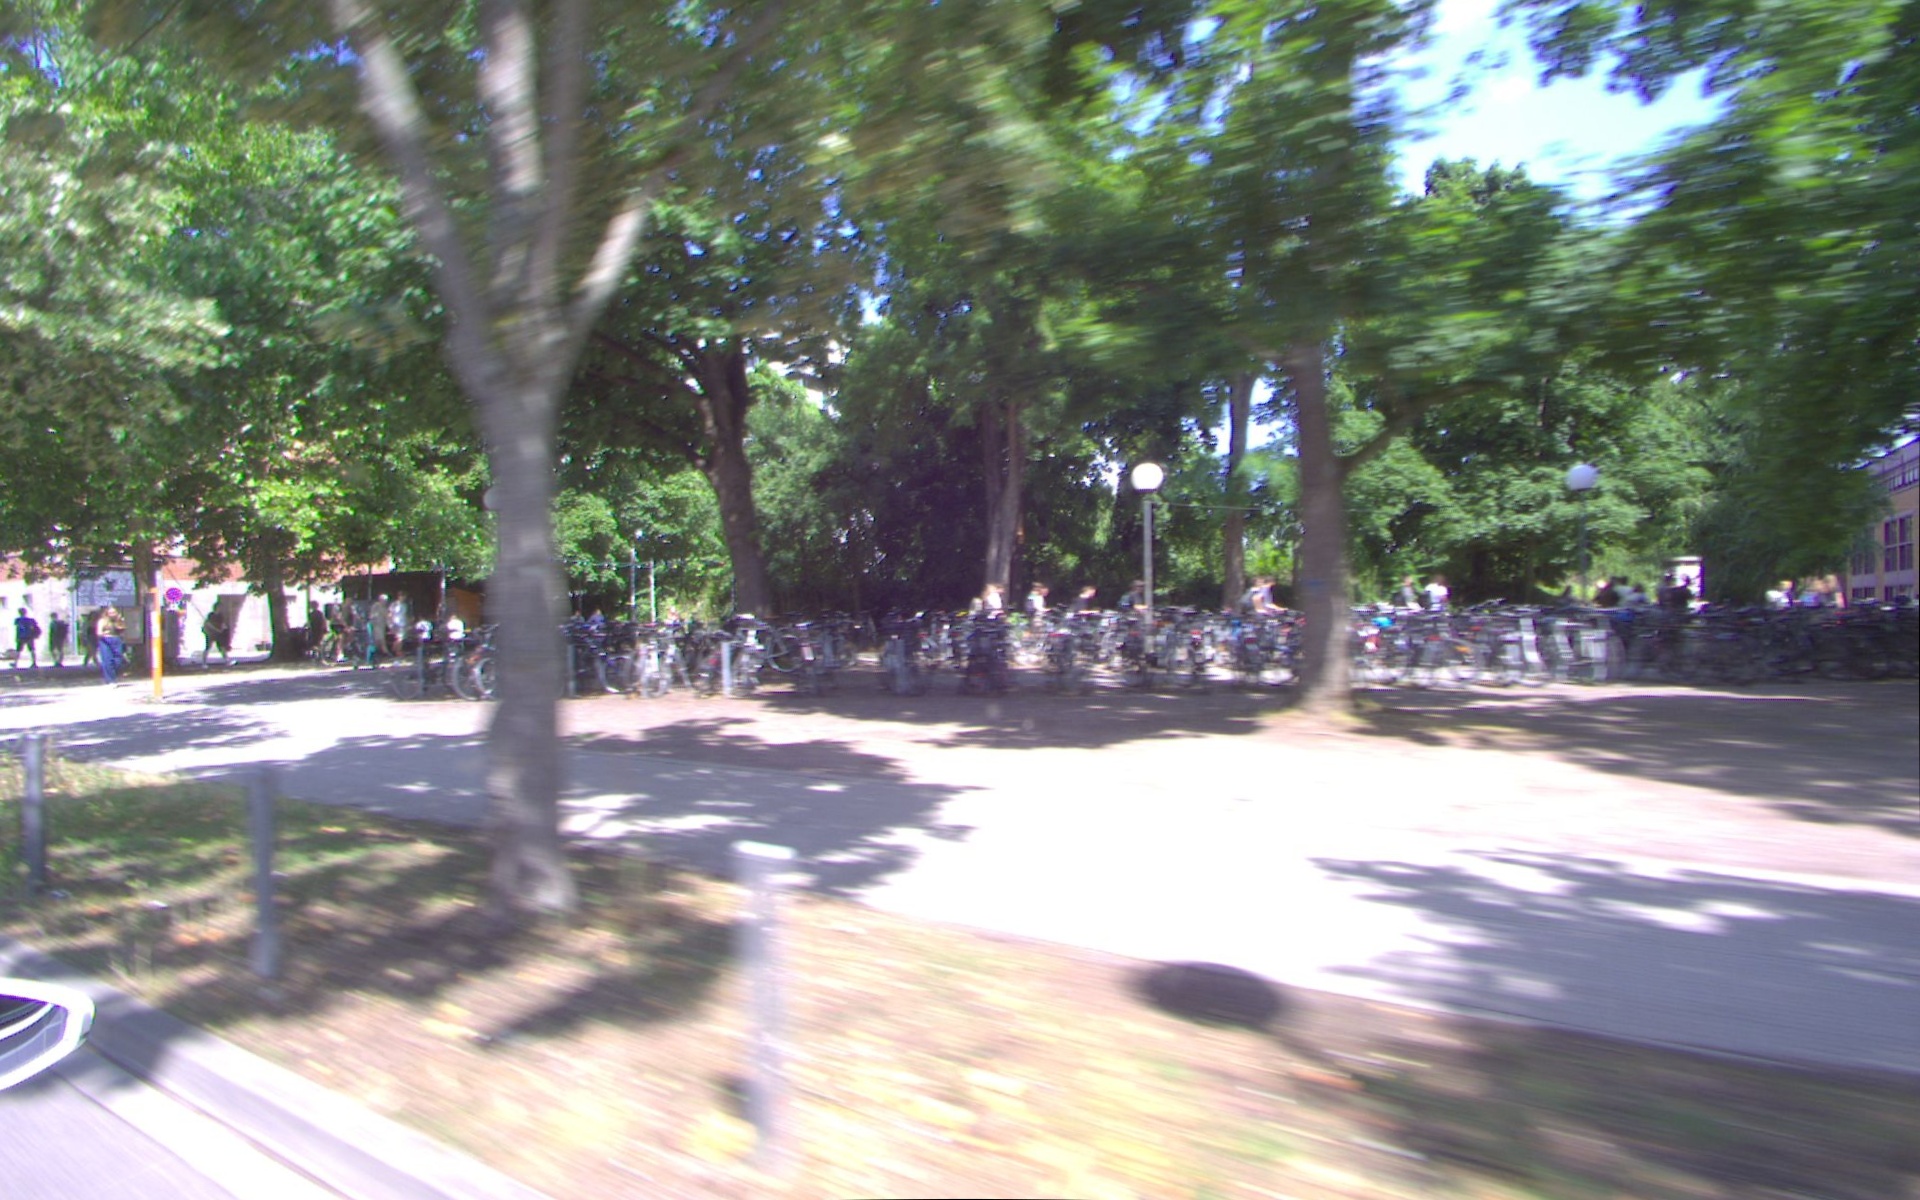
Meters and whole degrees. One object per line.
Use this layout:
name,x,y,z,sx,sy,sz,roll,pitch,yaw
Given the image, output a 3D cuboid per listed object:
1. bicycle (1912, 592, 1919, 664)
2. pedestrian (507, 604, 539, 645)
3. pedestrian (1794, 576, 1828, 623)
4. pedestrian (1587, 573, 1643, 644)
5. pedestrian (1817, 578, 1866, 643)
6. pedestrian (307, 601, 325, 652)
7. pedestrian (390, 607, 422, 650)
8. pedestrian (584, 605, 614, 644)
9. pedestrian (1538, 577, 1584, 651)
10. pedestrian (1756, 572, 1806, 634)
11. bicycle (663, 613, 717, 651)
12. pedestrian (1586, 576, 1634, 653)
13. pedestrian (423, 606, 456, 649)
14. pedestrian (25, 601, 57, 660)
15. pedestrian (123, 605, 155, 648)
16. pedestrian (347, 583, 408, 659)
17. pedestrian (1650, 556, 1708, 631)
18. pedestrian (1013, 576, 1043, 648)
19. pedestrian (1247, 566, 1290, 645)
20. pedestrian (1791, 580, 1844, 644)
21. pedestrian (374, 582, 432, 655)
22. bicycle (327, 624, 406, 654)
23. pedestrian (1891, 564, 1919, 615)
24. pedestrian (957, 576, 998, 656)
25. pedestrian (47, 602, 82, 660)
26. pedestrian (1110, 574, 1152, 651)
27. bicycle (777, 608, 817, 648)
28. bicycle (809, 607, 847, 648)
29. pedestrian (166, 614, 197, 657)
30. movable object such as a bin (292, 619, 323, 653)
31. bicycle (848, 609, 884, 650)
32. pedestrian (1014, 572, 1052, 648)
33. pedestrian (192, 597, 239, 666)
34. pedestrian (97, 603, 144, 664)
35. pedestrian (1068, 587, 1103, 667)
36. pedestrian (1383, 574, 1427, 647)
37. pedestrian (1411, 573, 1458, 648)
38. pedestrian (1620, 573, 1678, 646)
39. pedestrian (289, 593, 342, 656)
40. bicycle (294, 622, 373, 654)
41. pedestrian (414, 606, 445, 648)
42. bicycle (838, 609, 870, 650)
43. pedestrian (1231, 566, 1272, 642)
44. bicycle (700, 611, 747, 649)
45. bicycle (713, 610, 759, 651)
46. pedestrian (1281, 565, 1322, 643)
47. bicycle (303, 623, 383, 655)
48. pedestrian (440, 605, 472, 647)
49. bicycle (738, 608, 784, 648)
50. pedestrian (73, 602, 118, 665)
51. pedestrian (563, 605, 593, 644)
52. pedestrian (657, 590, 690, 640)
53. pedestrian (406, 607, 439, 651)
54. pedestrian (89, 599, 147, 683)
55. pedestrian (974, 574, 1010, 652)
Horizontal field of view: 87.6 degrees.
bicycle,16.199,0.458,15.802,0.339,1.186,1.843,-1,0,-12
pedestrian,-14.898,0.825,34.145,0.708,1.365,0.665,0,4,28
pedestrian,28.517,-0.025,33.554,0.505,1.533,0.690,-2,3,-11
pedestrian,16.874,0.209,25.807,0.977,1.799,0.838,-1,1,-28
pedestrian,24.862,0.281,28.255,0.707,1.813,0.744,-1,1,-11
pedestrian,-24.304,1.010,37.779,0.523,1.907,0.445,0,0,43
pedestrian,-18.053,0.926,32.641,0.718,1.365,0.568,0,4,28
pedestrian,-12.174,0.817,33.798,0.612,1.289,0.665,0,4,28
pedestrian,14.922,0.330,24.873,0.711,1.799,0.740,-1,1,-32
pedestrian,21.517,0.082,26.260,0.708,1.590,0.742,-1,1,-20
bicycle,-7.655,0.885,28.439,0.601,0.992,1.957,-1,1,13
pedestrian,15.583,0.337,24.013,0.711,1.799,0.740,-1,1,-32
pedestrian,-17.020,0.891,32.748,0.718,1.365,0.568,0,4,28
pedestrian,-29.257,0.961,31.892,0.400,1.822,0.594,2,3,29
pedestrian,-31.561,1.026,38.485,0.669,1.628,0.657,-1,1,18
pedestrian,-15.647,0.548,26.892,1.058,1.976,0.834,-1,2,12
pedestrian,17.563,-0.165,24.474,0.798,1.799,0.853,-1,1,-18
pedestrian,1.738,0.305,25.465,0.707,1.799,0.744,0,1,7
pedestrian,7.161,0.132,23.284,0.707,1.799,0.744,0,1,-7
pedestrian,21.793,0.301,25.466,0.708,1.590,0.743,-1,1,-16
pedestrian,-15.455,0.512,27.793,1.058,1.976,0.834,-1,2,12
bicycle,-21.696,1.412,36.637,0.775,1.085,2.382,-2,-2,44
pedestrian,29.931,-0.322,31.599,0.736,1.590,0.715,1,1,41
pedestrian,0.406,0.356,22.839,0.709,1.799,0.742,0,1,25
pedestrian,-29.230,1.004,32.682,0.716,1.822,0.594,1,4,29
pedestrian,4.086,0.300,23.891,0.954,1.799,0.963,0,1,11
bicycle,-4.527,0.769,27.958,0.469,1.053,1.782,-1,1,11
bicycle,-3.662,0.742,27.939,0.469,1.053,1.830,-1,1,11
pedestrian,-30.571,1.388,39.340,0.669,1.628,0.657,-1,1,18
movable object such as a bin,-21.861,1.201,33.538,0.732,1.085,0.597,-3,-1,33
bicycle,-2.557,0.789,27.397,0.469,1.053,1.751,-1,1,11
pedestrian,1.773,0.247,24.209,0.709,1.799,0.742,0,1,25
pedestrian,-20.628,0.859,27.746,0.812,1.880,0.763,-1,1,33
pedestrian,-23.561,0.926,28.114,0.812,1.683,0.763,-1,1,33
pedestrian,2.834,0.600,22.698,0.707,1.799,0.744,0,1,1
pedestrian,11.179,0.262,25.161,0.708,1.799,0.743,-1,1,-19
pedestrian,11.471,0.246,24.227,0.708,1.799,0.743,-1,1,-19
pedestrian,17.264,0.228,25.105,0.977,1.799,0.838,-1,1,-28
pedestrian,-18.845,0.697,29.287,0.904,1.799,0.958,0,1,25
bicycle,-23.505,1.416,37.595,2.381,1.086,0.775,-1,-1,-45
pedestrian,-17.668,0.884,33.354,0.718,1.365,0.568,0,4,28
bicycle,-2.904,0.797,27.465,0.341,1.053,1.751,-1,1,11
pedestrian,7.015,0.100,24.152,0.707,1.799,0.744,0,1,-7
bicycle,-6.732,0.851,28.598,0.430,0.992,1.957,-1,1,13
bicycle,-6.340,0.848,28.389,0.427,1.053,1.957,-1,1,13
pedestrian,8.022,0.089,23.545,0.707,1.799,0.744,0,1,1
bicycle,-22.792,1.419,37.038,0.774,1.086,2.386,-1,-1,39
pedestrian,-16.746,0.860,33.260,0.718,1.365,0.568,0,4,28
bicycle,-5.615,0.774,28.357,0.470,1.053,1.957,-1,1,13
pedestrian,-23.727,0.917,27.483,0.777,1.683,0.695,-1,1,33
pedestrian,-13.002,0.827,34.121,0.612,1.289,0.665,0,4,28
pedestrian,-9.378,0.483,32.812,0.707,1.604,0.665,0,4,28
pedestrian,-17.297,0.923,32.240,0.718,1.365,0.568,0,4,28
pedestrian,-16.492,0.788,19.607,0.914,1.592,0.567,-1,1,33
pedestrian,0.769,0.305,23.581,0.707,1.799,0.744,0,1,13
